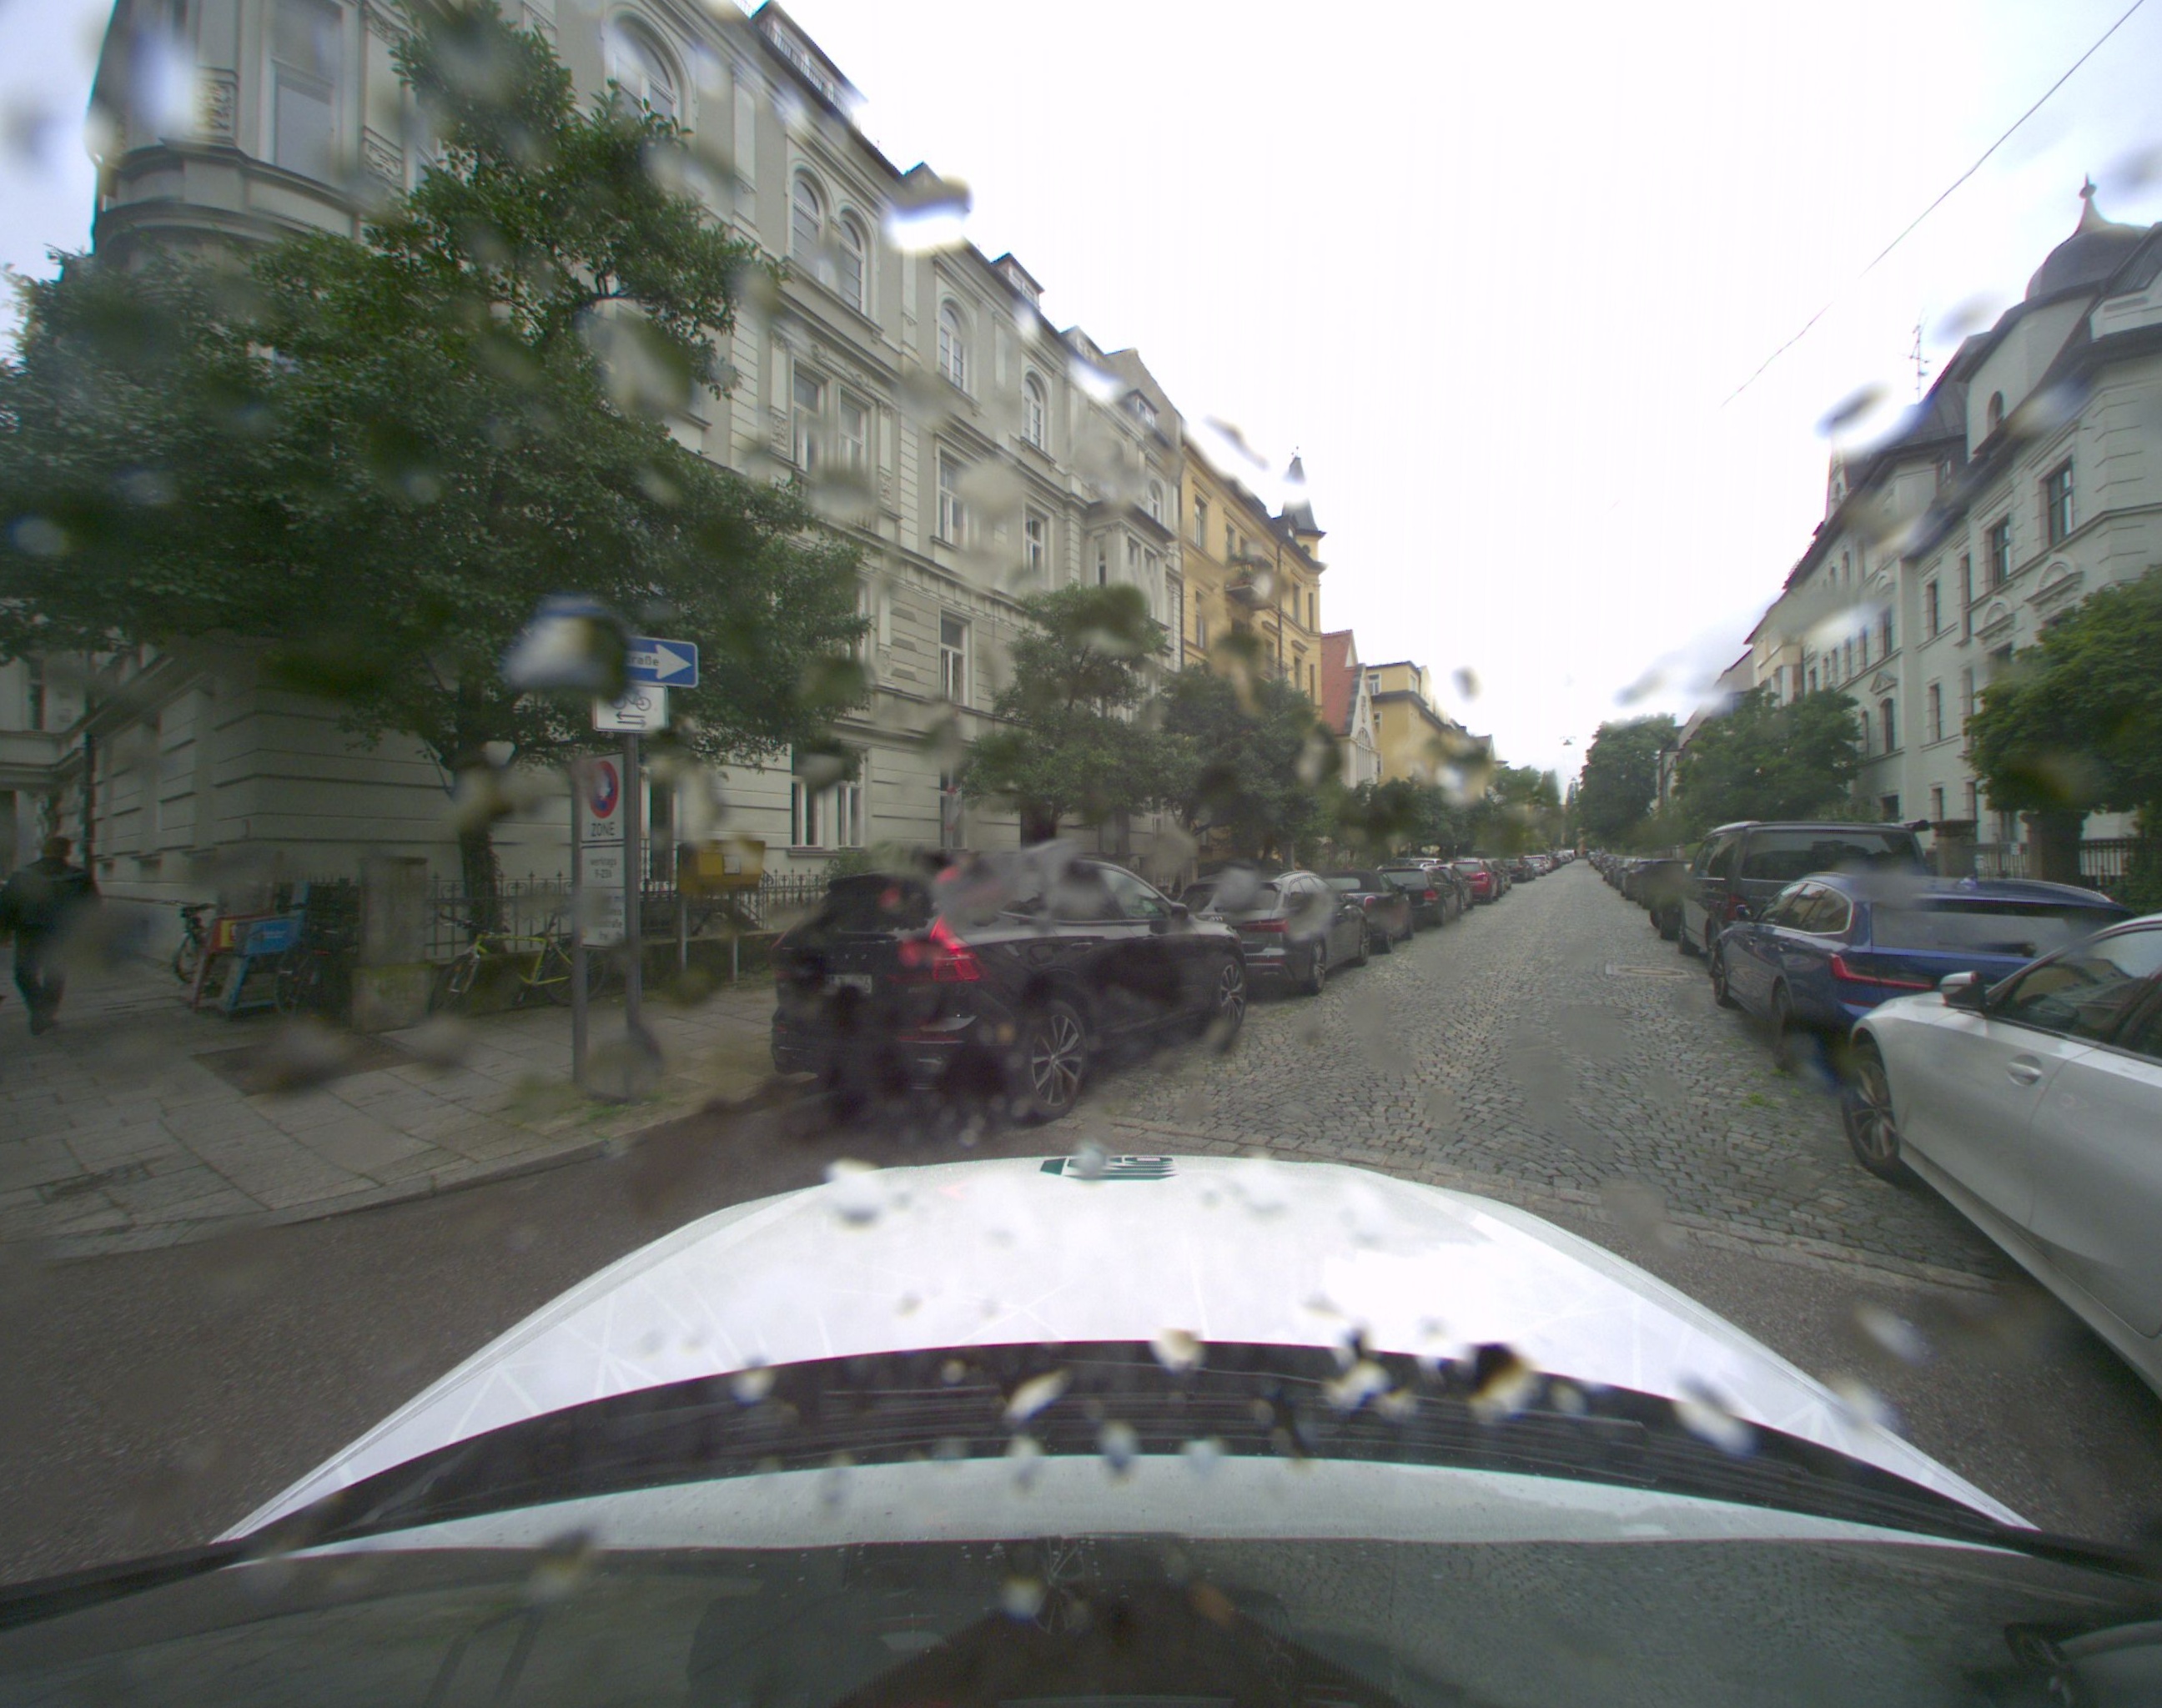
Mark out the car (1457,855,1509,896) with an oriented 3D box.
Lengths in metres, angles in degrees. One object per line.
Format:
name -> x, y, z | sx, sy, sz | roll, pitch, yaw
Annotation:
car -> 15.997, 0.841, 32.364 | 1.418, 1.460, 2.667 | -6, -3, 33

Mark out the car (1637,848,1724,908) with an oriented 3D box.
car -> 18.042, 0.676, 24.670 | 1.903, 1.635, 4.072 | 1, 0, 33

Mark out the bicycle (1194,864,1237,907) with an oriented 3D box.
bicycle -> 3.690, 0.843, 22.227 | 0.367, 1.102, 1.845 | -1, 0, 36

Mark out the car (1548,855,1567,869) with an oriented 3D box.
car -> 61.479, 1.088, 105.122 | 1.903, 1.635, 3.762 | -6, -3, 31

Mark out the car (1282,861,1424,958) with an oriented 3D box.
car -> 5.177, 0.965, 15.209 | 1.687, 1.516, 3.750 | -4, -2, 30

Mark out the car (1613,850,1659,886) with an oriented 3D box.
car -> 25.834, 0.620, 37.873 | 1.581, 1.503, 3.283 | -6, -4, 36

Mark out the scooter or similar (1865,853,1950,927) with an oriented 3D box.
scooter or similar -> 15.604, 0.672, 15.369 | 1.607, 1.333, 0.624 | 0, -3, -28

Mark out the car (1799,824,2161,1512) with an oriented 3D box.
car -> 3.807, 0.713, 2.256 | 1.888, 1.531, 4.953 | 2, 1, 32

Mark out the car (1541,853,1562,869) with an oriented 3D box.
car -> 55.196, 0.833, 95.562 | 1.903, 1.635, 3.762 | -6, -3, 31

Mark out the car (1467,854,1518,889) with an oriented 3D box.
car -> 19.245, 0.782, 38.042 | 1.644, 1.534, 3.506 | -2, -2, 34

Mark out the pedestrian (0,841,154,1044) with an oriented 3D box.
pedestrian -> -9.191, 0.740, 7.424 | 0.963, 1.689, 0.866 | -2, 0, 36

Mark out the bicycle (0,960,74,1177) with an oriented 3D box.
bicycle -> -6.469, 1.106, 4.338 | 2.177, 1.028, 0.659 | 0, 0, 18

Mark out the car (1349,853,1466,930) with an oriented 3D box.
car -> 7.771, 0.822, 19.155 | 1.710, 1.540, 4.363 | -6, -3, 32

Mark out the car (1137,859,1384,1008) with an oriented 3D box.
car -> 2.739, 0.897, 11.203 | 1.787, 1.505, 5.210 | -4, -2, 29

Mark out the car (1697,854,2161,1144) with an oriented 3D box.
car -> 6.521, 0.776, 6.620 | 1.911, 1.506, 4.906 | 0, 0, 31

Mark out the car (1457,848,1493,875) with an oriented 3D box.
car -> 24.926, 0.457, 51.472 | 1.761, 1.635, 3.762 | -1, -1, 30

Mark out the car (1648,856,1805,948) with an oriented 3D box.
car -> 12.294, 0.790, 15.810 | 1.903, 1.434, 4.831 | 1, 1, 33

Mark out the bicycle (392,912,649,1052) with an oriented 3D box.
bicycle -> -5.242, 1.136, 7.755 | 0.550, 1.028, 1.941 | 0, 0, 37

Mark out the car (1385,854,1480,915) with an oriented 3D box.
car -> 10.423, 0.870, 23.991 | 1.903, 1.546, 4.025 | -6, -3, 31

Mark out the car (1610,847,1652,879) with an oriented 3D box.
car -> 31.298, 0.523, 46.417 | 1.644, 1.635, 3.469 | -6, -3, 30

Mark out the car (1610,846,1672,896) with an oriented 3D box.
car -> 19.577, 0.587, 28.555 | 1.644, 1.635, 3.561 | -2, -2, 34

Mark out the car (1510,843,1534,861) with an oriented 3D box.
car -> 45.850, -0.212, 84.643 | 1.903, 1.635, 3.762 | -6, -3, 31

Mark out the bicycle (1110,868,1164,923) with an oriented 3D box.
bicycle -> 1.271, 0.895, 18.168 | 0.359, 1.133, 1.899 | 0, 0, 31

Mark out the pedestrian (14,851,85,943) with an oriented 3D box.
pedestrian -> -21.143, 0.860, 16.703 | 0.658, 1.835, 0.867 | -1, -1, 35

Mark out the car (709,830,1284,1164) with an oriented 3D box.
car -> -0.124, 0.796, 6.713 | 1.919, 1.652, 5.085 | -6, -3, 32

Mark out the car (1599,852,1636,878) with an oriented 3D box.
car -> 33.566, 0.663, 50.981 | 1.644, 1.465, 3.469 | -6, -3, 30

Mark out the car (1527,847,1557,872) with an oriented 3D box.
car -> 38.117, 0.478, 67.301 | 1.903, 1.839, 3.762 | -6, -3, 31

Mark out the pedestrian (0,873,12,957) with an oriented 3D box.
pedestrian -> -22.272, 1.238, 16.395 | 0.766, 1.687, 0.867 | -1, -1, 35

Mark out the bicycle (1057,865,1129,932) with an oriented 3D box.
bicycle -> 0.274, 0.858, 16.361 | 0.495, 1.248, 1.992 | 0, 0, 31

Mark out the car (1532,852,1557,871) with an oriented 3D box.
car -> 44.712, 0.749, 78.573 | 1.903, 1.635, 3.762 | -6, -3, 31

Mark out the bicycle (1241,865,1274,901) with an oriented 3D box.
bicycle -> 5.391, 0.872, 24.823 | 0.414, 1.027, 1.776 | 0, 0, 32

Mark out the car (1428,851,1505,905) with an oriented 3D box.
car -> 13.565, 0.823, 28.544 | 1.903, 1.635, 3.829 | -6, -3, 32

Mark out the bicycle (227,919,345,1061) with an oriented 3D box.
bicycle -> -7.137, 1.151, 7.281 | 1.866, 1.028, 0.434 | 0, 0, 36

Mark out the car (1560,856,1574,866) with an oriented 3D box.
car -> 85.714, 1.185, 143.566 | 1.903, 1.635, 3.762 | -6, -3, 31

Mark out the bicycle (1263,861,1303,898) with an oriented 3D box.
bicycle -> 6.539, 0.803, 26.286 | 0.414, 1.143, 1.775 | 0, 0, 44

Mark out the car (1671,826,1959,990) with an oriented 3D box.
car -> 9.413, 0.553, 10.958 | 2.002, 1.690, 4.881 | -1, 0, 32

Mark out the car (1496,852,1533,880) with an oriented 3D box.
car -> 26.556, 0.720, 49.855 | 1.903, 1.635, 3.762 | -1, -1, 29

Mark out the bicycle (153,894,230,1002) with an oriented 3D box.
bicycle -> -10.055, 1.012, 9.234 | 1.728, 1.060, 0.551 | -1, -1, 43
